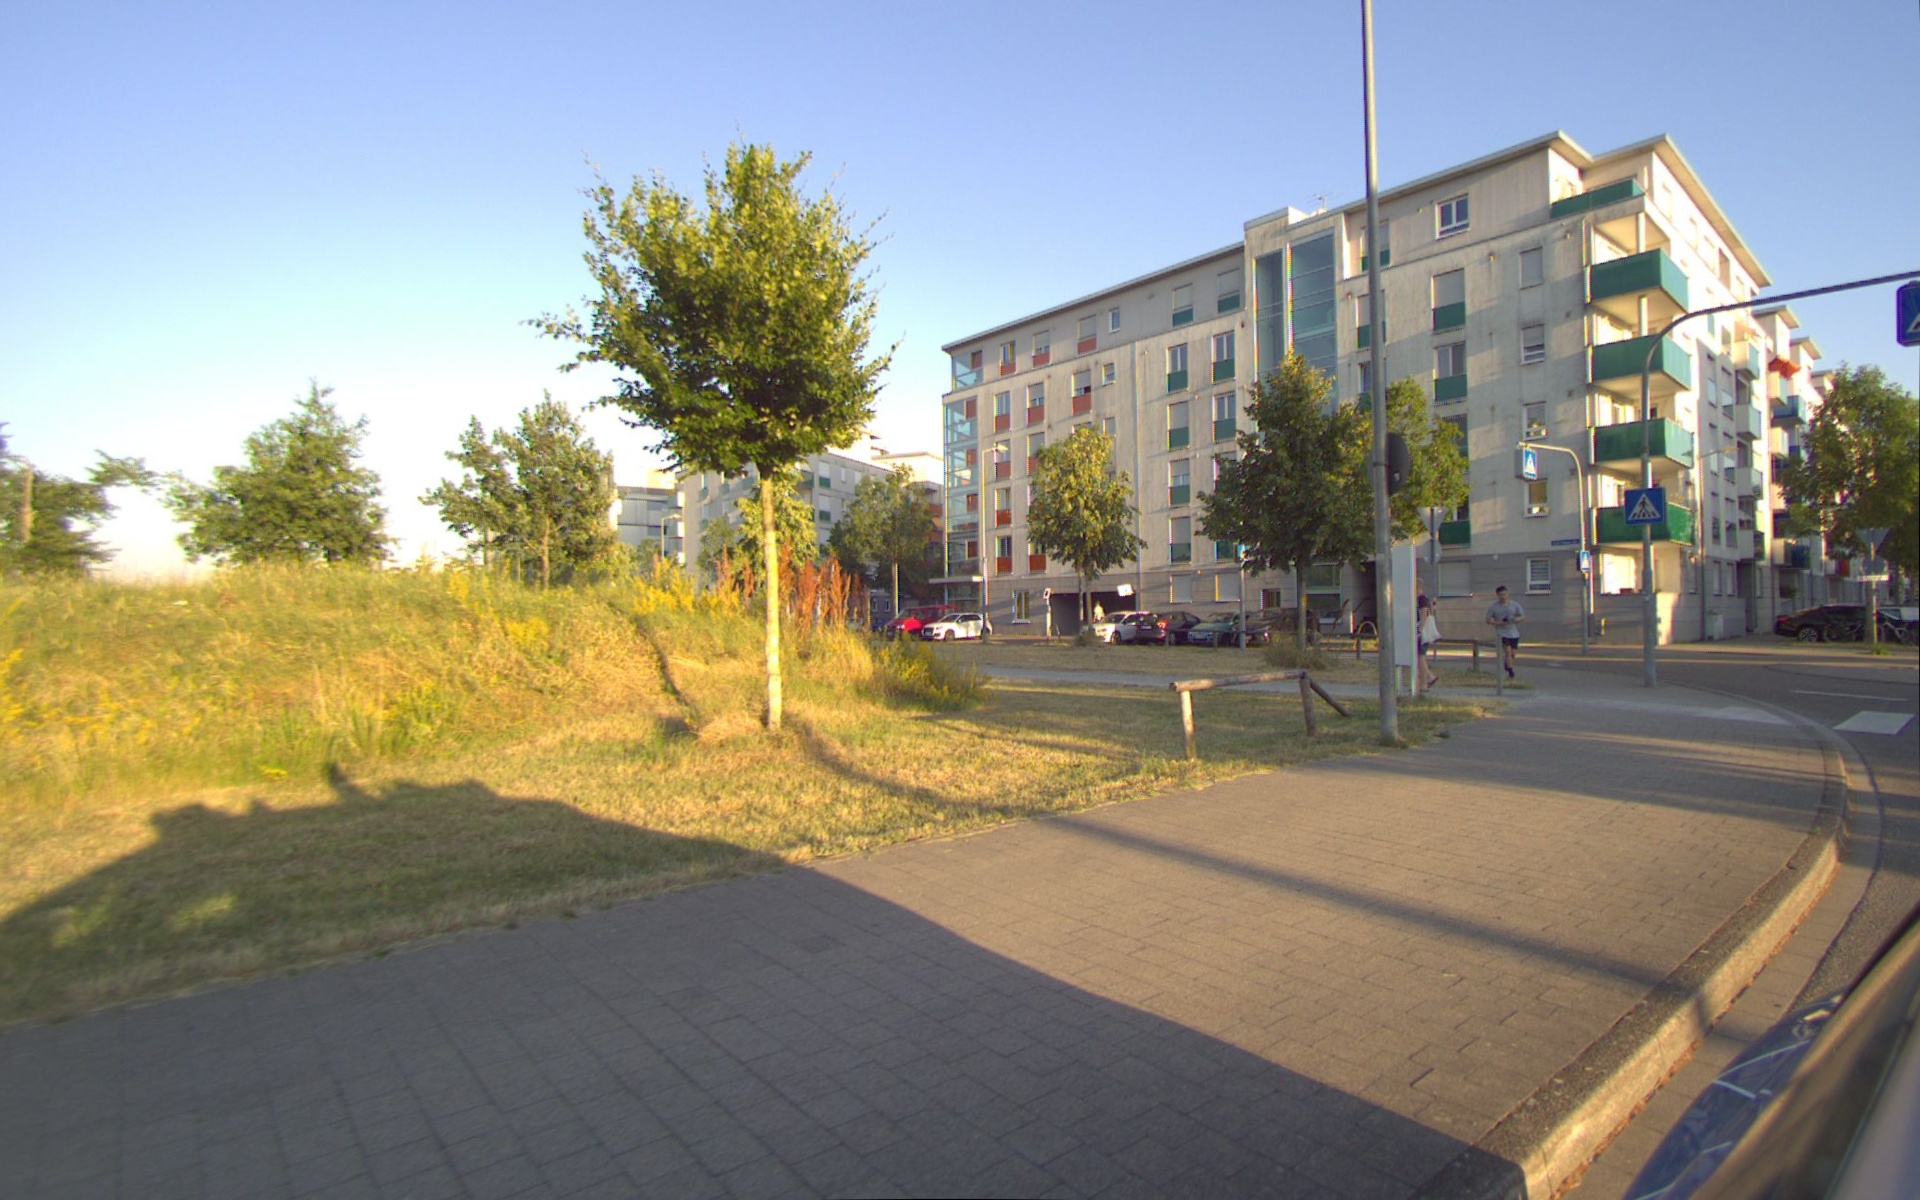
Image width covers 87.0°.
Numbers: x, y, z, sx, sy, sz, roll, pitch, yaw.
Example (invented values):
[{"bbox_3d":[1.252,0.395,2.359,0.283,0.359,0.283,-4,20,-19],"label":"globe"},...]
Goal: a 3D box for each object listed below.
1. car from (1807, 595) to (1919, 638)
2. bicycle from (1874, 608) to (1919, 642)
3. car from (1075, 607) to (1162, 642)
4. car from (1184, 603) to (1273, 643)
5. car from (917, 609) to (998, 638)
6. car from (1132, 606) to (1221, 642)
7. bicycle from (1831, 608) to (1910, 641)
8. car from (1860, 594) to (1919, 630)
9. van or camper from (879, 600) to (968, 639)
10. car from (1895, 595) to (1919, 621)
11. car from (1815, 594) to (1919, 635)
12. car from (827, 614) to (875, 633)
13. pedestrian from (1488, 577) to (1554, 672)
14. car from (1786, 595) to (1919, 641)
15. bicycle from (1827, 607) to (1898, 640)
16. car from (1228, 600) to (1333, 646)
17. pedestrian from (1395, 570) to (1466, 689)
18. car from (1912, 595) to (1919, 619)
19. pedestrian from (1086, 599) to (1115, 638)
[{"bbox_3d":[35.284,0.624,38.543,1.711,1.527,4.411,1,1,-39],"label":"car"},{"bbox_3d":[32.245,0.852,34.326,1.834,1.085,0.466,2,0,44],"label":"bicycle"},{"bbox_3d":[7.080,1.096,44.933,3.986,1.499,1.698,1,-2,-42],"label":"car"},{"bbox_3d":[11.010,0.921,41.394,3.938,1.391,1.556,-2,0,-42],"label":"car"},{"bbox_3d":[-0.107,1.274,54.651,4.389,1.541,1.698,1,-2,-42],"label":"car"},{"bbox_3d":[9.300,1.026,43.282,3.986,1.499,1.698,1,-2,-42],"label":"car"},{"bbox_3d":[31.837,0.830,35.401,2.029,1.059,0.466,2,0,44],"label":"bicycle"},{"bbox_3d":[42.829,0.583,44.876,4.284,1.527,1.659,2,1,44],"label":"car"},{"bbox_3d":[-2.018,1.112,56.923,5.043,2.087,1.873,1,-2,-42],"label":"van or camper"},{"bbox_3d":[60.144,0.528,61.886,1.663,1.555,4.248,1,1,-41],"label":"car"},{"bbox_3d":[36.984,0.570,40.323,1.713,1.512,4.287,1,1,-43],"label":"car"},{"bbox_3d":[-8.571,1.836,79.525,3.479,1.487,1.604,-1,-2,18],"label":"car"},{"bbox_3d":[10.567,0.462,19.067,0.753,1.752,0.801,1,-2,-35],"label":"pedestrian"},{"bbox_3d":[33.316,0.651,36.748,1.903,1.476,4.884,1,1,-40],"label":"car"},{"bbox_3d":[30.961,0.801,34.733,1.787,1.055,0.558,2,0,44],"label":"bicycle"},{"bbox_3d":[12.360,0.860,38.901,4.405,1.506,1.829,-2,0,-42],"label":"car"},{"bbox_3d":[7.419,0.461,15.957,0.788,1.807,0.733,2,-3,-42],"label":"pedestrian"},{"bbox_3d":[64.496,0.497,65.332,1.663,1.555,4.248,1,1,-41],"label":"car"},{"bbox_3d":[7.106,0.937,51.154,0.962,1.919,1.048,2,-3,-40],"label":"pedestrian"}]
